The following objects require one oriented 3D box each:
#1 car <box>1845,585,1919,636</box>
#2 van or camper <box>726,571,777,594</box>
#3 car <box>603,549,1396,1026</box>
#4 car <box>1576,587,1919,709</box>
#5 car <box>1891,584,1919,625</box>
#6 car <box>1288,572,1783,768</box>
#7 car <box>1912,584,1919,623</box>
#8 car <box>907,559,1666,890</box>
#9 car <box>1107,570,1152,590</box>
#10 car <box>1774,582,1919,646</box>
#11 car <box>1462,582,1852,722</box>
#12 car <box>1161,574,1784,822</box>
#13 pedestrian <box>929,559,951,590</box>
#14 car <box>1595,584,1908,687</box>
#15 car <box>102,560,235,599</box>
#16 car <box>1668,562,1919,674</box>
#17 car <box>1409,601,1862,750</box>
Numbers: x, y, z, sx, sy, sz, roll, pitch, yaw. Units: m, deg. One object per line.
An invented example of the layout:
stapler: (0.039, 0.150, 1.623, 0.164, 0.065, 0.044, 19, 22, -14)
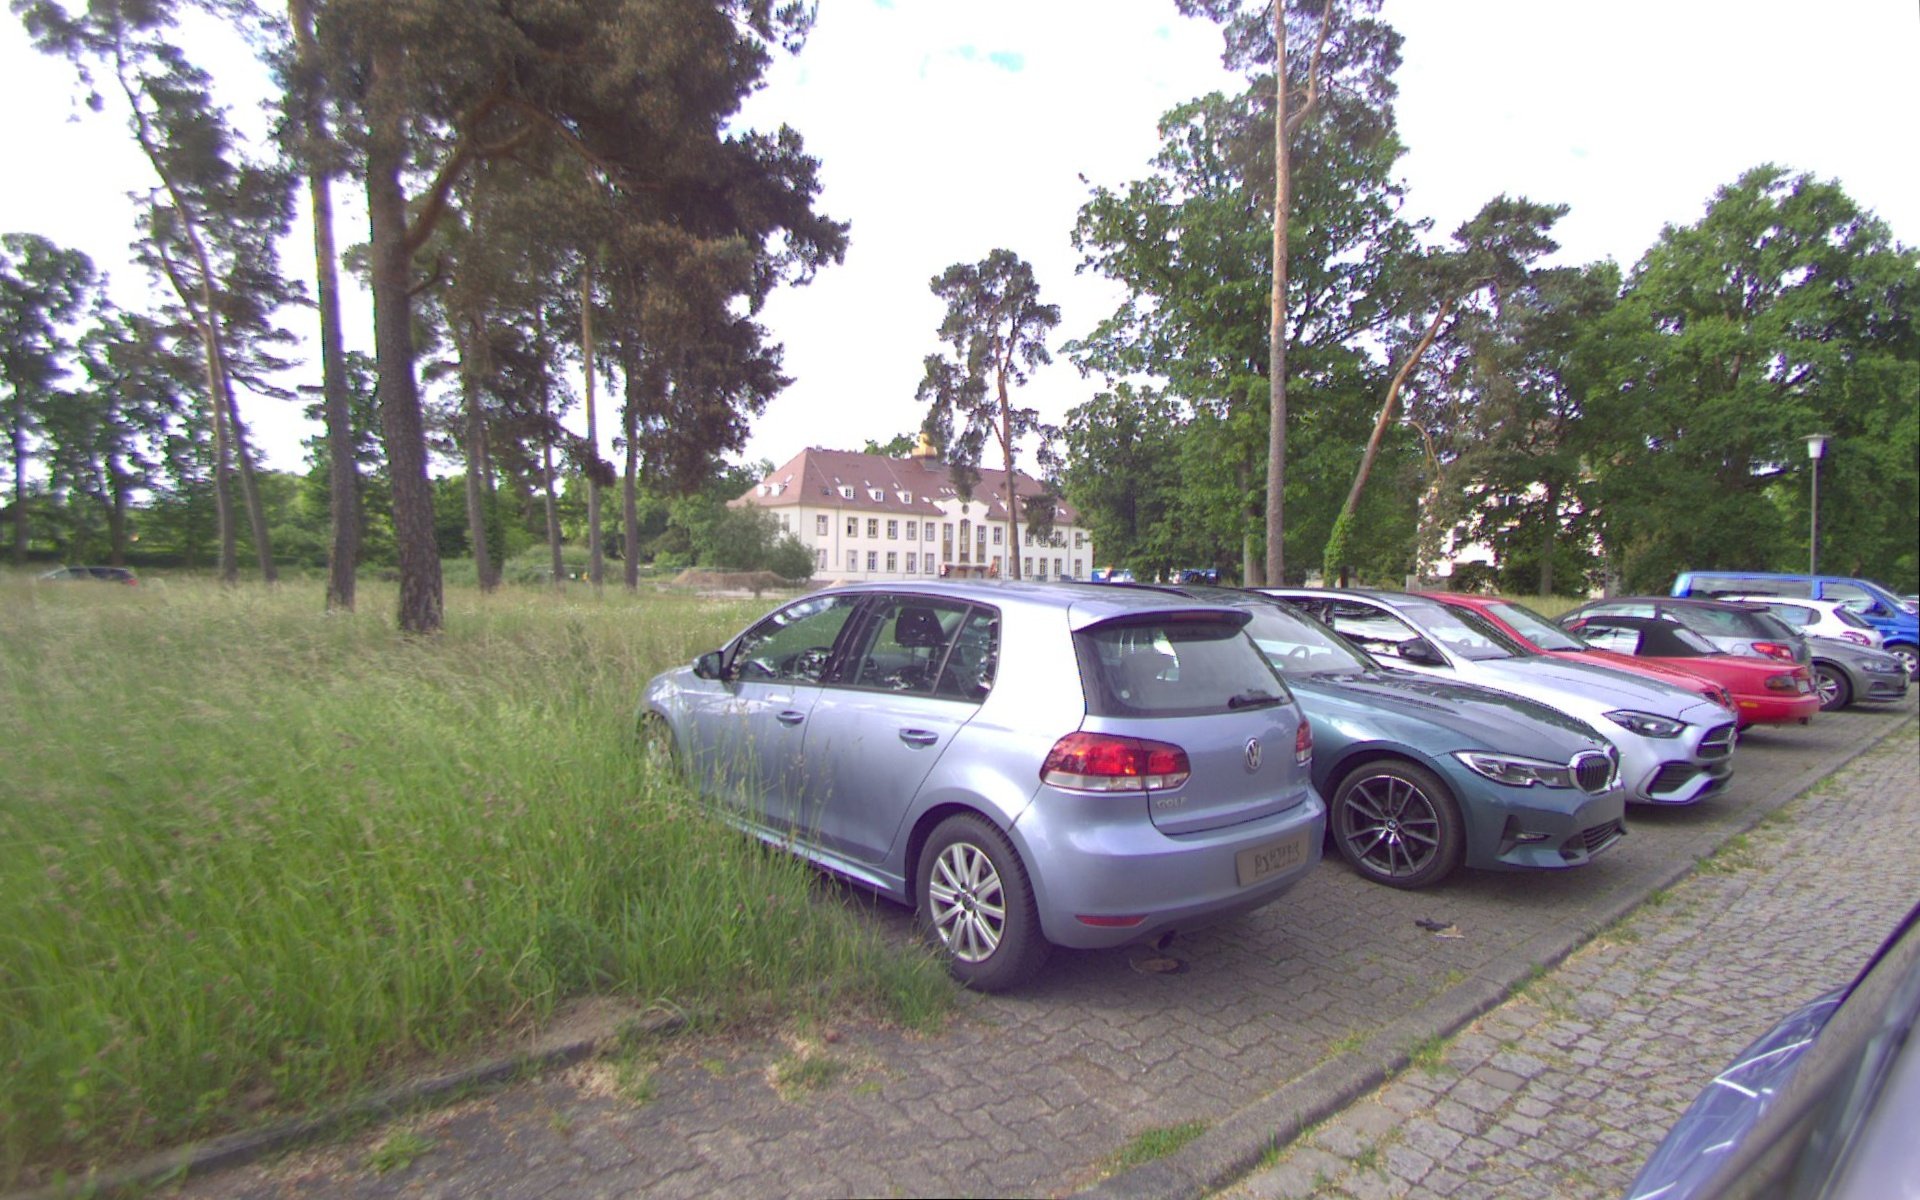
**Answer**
car: (31.551, 0.348, 32.933, 1.967, 1.589, 3.991, 0, 2, -43)
van or camper: (-21.947, -1.872, 106.472, 2.423, 2.335, 6.115, 0, 2, -43)
car: (-0.163, 0.500, 5.136, 1.765, 1.436, 3.994, 0, 2, -41)
car: (11.509, 0.575, 14.771, 1.765, 1.453, 3.931, 0, 2, -40)
car: (39.184, 0.215, 39.596, 1.964, 1.589, 3.791, 0, 2, -39)
car: (5.529, 0.512, 10.160, 1.764, 1.531, 3.934, 0, 2, -38)
car: (42.614, 0.185, 42.357, 1.964, 1.645, 3.791, 0, 2, -39)
car: (1.745, 0.475, 6.805, 1.765, 1.463, 4.628, 0, 2, -40)
car: (17.782, -2.093, 105.883, 4.753, 2.039, 2.163, 0, 2, -43)
car: (23.915, 0.341, 26.299, 1.835, 1.523, 3.998, 0, 2, -38)
car: (9.062, 0.554, 13.429, 1.764, 1.494, 3.932, 0, 2, -39)
car: (3.900, 0.552, 8.402, 1.764, 1.463, 4.268, 0, 2, -38)
pedestrian: (-1.401, -1.783, 70.817, 1.037, 2.205, 1.183, 0, 1, -41)
car: (13.357, 0.506, 17.268, 1.765, 1.467, 3.931, 0, 2, -40)
car: (-34.093, -0.877, 43.638, 4.375, 1.606, 1.996, 0, 2, -43)
car: (17.434, 0.277, 20.372, 1.963, 2.038, 4.844, 0, 2, -36)
car: (7.444, 0.702, 11.475, 1.764, 1.250, 3.932, 0, 2, -39)
